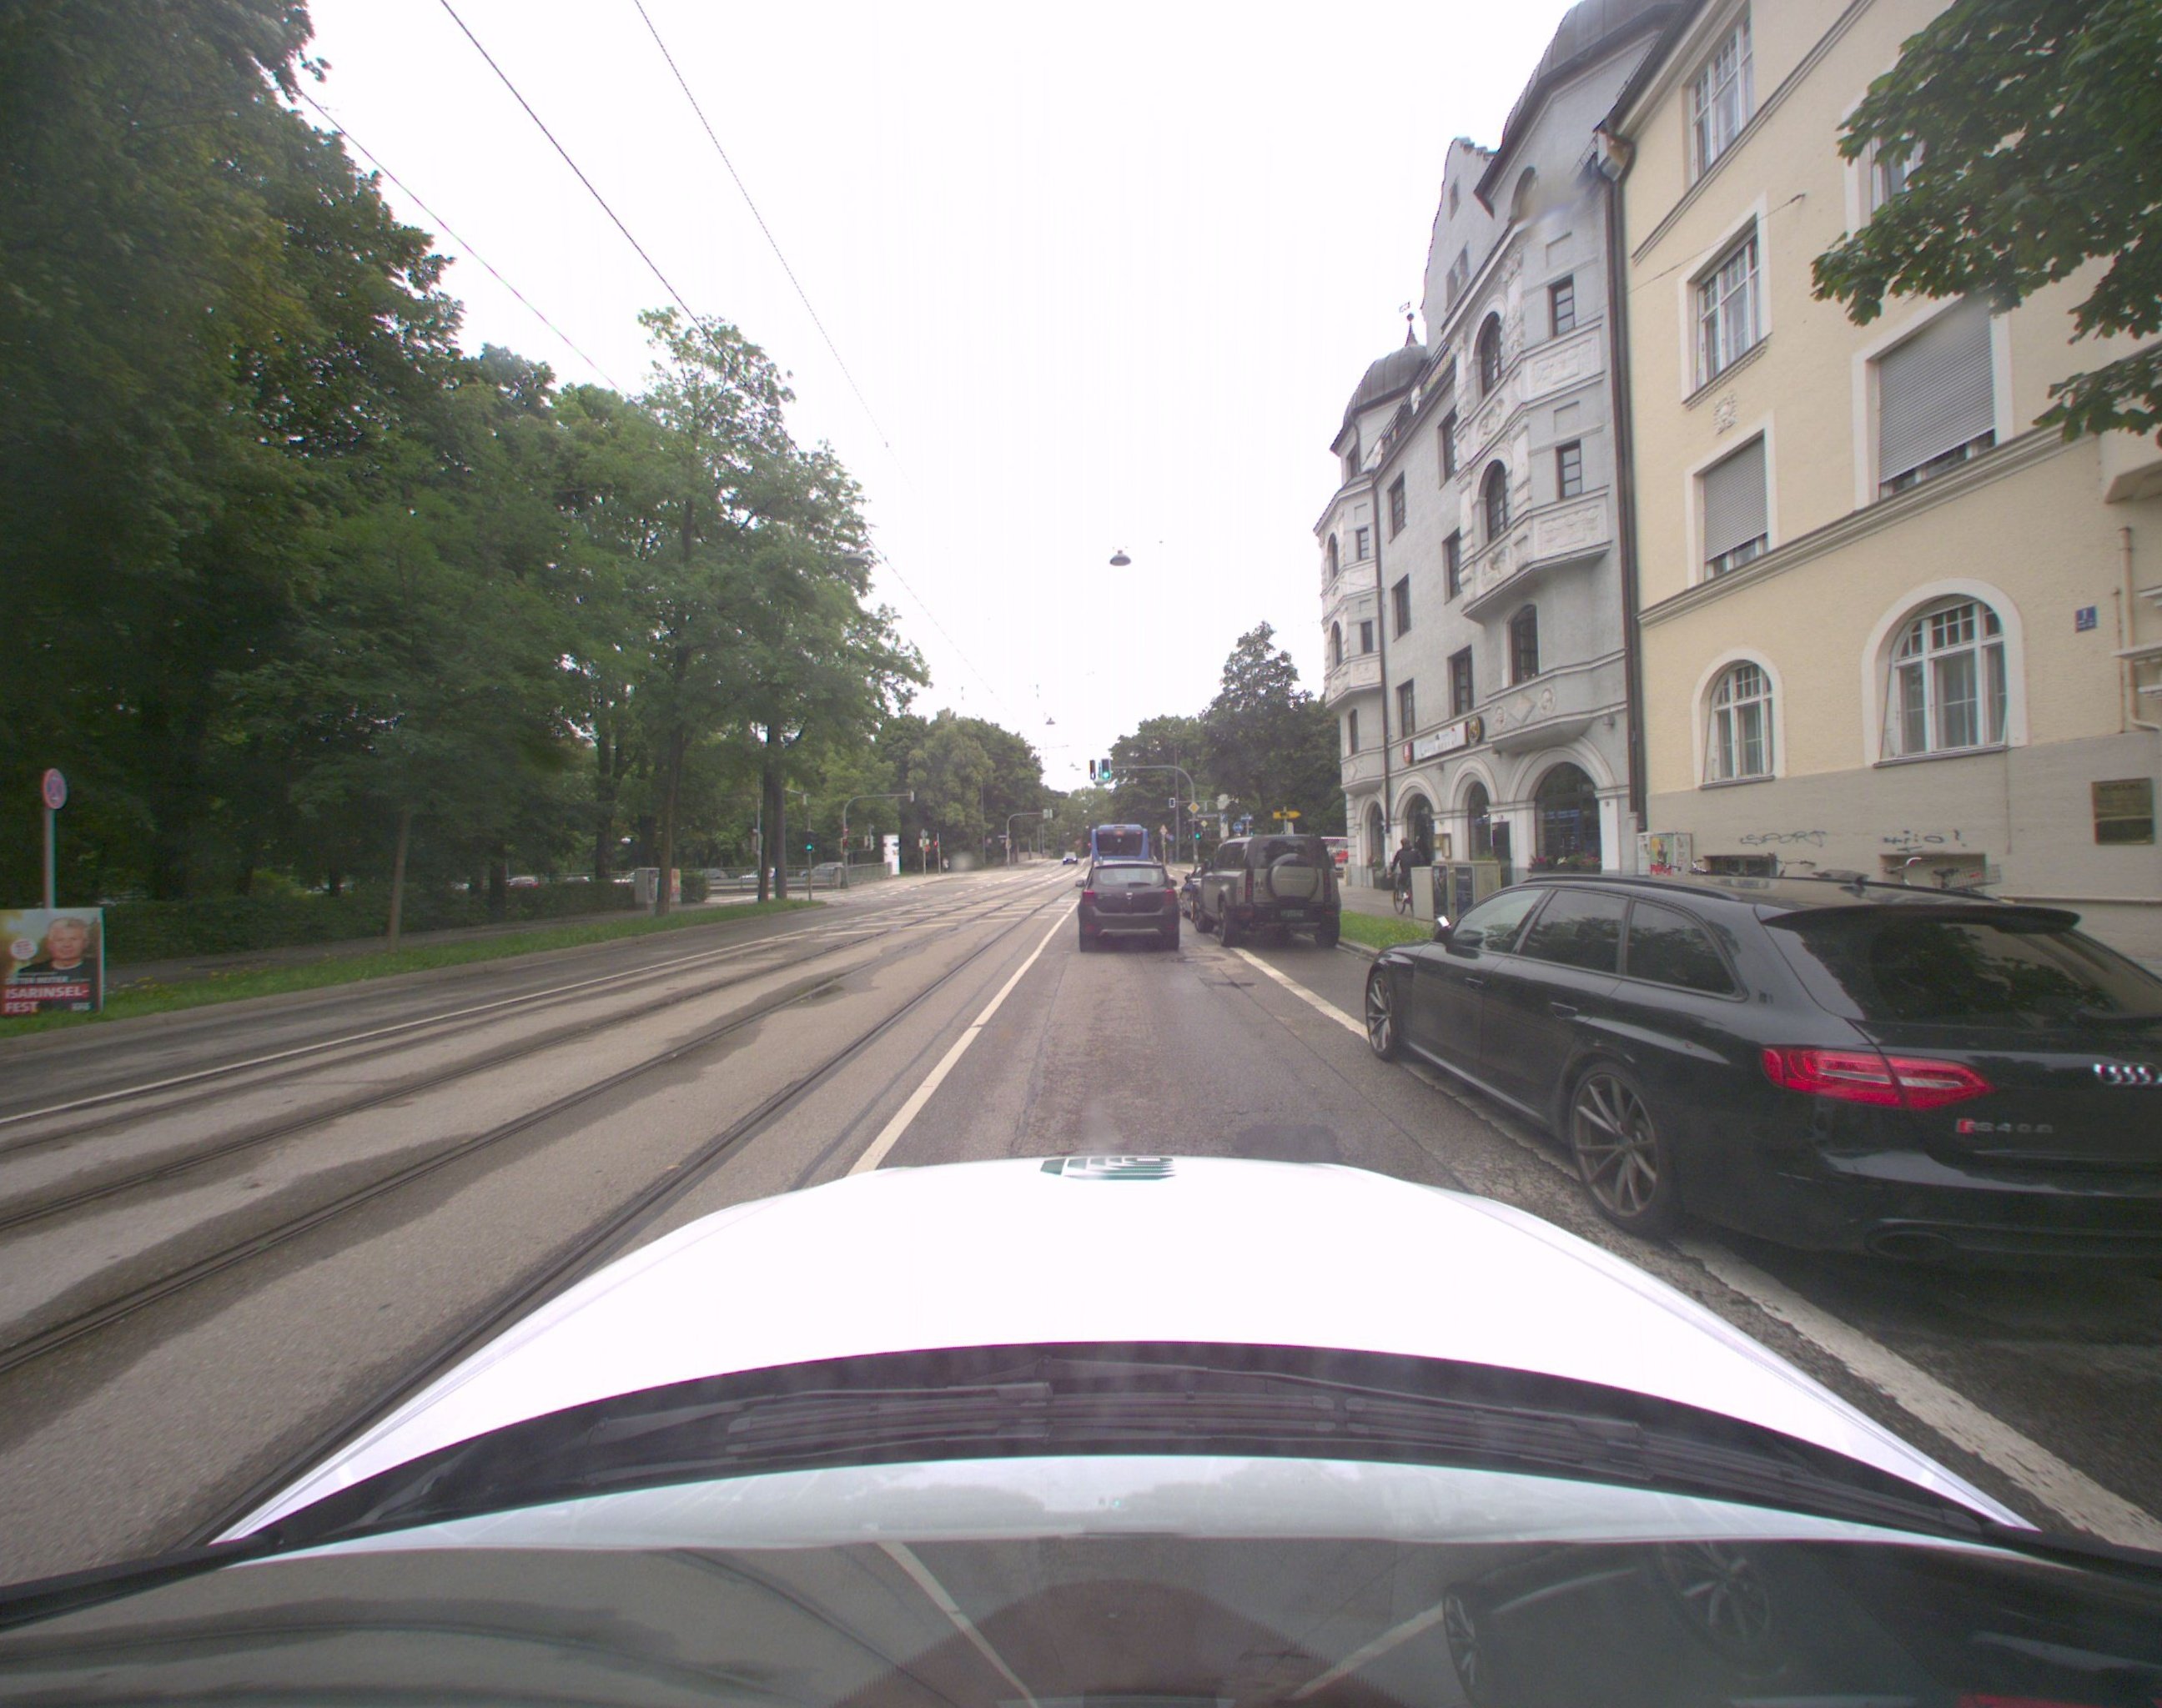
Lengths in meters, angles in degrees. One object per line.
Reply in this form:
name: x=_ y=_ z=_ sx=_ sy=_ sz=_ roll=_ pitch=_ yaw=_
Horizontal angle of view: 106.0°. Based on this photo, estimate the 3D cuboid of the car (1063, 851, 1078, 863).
car: x=-1.313 y=0.403 z=100.008 sx=1.782 sy=1.370 sz=3.400 roll=0 pitch=-1 yaw=0

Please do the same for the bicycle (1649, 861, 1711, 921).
bicycle: x=10.781 y=0.640 z=14.686 sx=0.241 sy=1.039 sz=1.224 roll=0 pitch=-1 yaw=2

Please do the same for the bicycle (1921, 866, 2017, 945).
bicycle: x=10.953 y=0.618 z=10.072 sx=0.220 sy=0.930 sz=0.886 roll=0 pitch=-1 yaw=1

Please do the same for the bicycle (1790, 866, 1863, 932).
bicycle: x=10.965 y=0.649 z=12.002 sx=0.284 sy=0.930 sz=0.886 roll=0 pitch=-1 yaw=3

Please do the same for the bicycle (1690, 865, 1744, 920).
bicycle: x=11.159 y=0.667 z=14.305 sx=0.304 sy=0.930 sz=0.886 roll=0 pitch=-1 yaw=4

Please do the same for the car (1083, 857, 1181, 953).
car: x=0.869 y=0.851 z=15.036 sx=1.595 sy=1.556 sz=3.526 roll=0 pitch=-1 yaw=1

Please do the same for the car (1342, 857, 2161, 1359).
car: x=3.021 y=0.743 z=4.623 sx=1.709 sy=1.426 sz=4.603 roll=0 pitch=-1 yaw=1

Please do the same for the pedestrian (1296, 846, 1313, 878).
pedestrian: x=12.171 y=0.440 z=44.334 sx=0.702 sy=1.732 sz=0.843 roll=0 pitch=-1 yaw=2

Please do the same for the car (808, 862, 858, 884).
car: x=-22.168 y=1.669 z=72.765 sx=4.015 sy=1.887 sz=1.488 roll=0 pitch=-1 yaw=-5

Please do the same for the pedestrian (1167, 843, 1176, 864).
pedestrian: x=9.664 y=-0.055 z=87.041 sx=0.760 sy=2.116 sz=0.854 roll=-2 pitch=0 yaw=2

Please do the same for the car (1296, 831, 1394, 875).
car: x=16.088 y=-0.032 z=49.744 sx=5.280 sy=2.613 sz=2.229 roll=0 pitch=-1 yaw=-2

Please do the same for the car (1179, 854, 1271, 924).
car: x=3.539 y=0.811 z=20.661 sx=1.708 sy=1.591 sz=4.329 roll=0 pitch=-1 yaw=2

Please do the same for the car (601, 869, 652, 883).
car: x=-39.946 y=1.917 z=71.634 sx=3.720 sy=1.185 sz=1.249 roll=0 pitch=-1 yaw=-4

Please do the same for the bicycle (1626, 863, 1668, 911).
bicycle: x=11.252 y=0.642 z=16.203 sx=0.258 sy=0.930 sz=0.886 roll=0 pitch=-1 yaw=3

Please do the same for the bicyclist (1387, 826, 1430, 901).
bicyclist: x=7.730 y=0.229 z=19.221 sx=0.722 sy=1.729 sz=0.726 roll=0 pitch=-1 yaw=1

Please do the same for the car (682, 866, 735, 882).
car: x=-32.965 y=1.778 z=72.131 sx=3.915 sy=1.404 sz=1.719 roll=0 pitch=-1 yaw=-3

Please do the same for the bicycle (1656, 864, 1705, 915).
bicycle: x=11.223 y=0.647 z=15.265 sx=0.289 sy=0.930 sz=0.886 roll=0 pitch=-1 yaw=3

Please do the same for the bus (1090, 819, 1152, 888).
bus: x=1.794 y=0.003 z=39.100 sx=2.670 sy=2.997 sz=6.959 roll=0 pitch=-1 yaw=0

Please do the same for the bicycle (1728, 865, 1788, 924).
bicycle: x=11.067 y=0.646 z=13.337 sx=0.271 sy=0.930 sz=0.886 roll=0 pitch=-1 yaw=3

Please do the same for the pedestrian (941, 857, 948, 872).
pedestrian: x=-13.210 y=1.011 z=78.715 sx=0.529 sy=1.501 sz=0.589 roll=0 pitch=-1 yaw=6

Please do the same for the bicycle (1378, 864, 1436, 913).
bicycle: x=7.726 y=0.788 z=19.386 sx=0.577 sy=1.078 sz=1.912 roll=-4 pitch=-1 yaw=1

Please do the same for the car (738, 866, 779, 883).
car: x=-28.576 y=1.810 z=72.233 sx=3.103 sy=1.452 sz=1.249 roll=0 pitch=-1 yaw=-4

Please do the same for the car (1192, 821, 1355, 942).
car: x=3.368 y=0.458 z=15.244 sx=1.908 sy=1.906 sz=4.806 roll=0 pitch=-1 yaw=0
